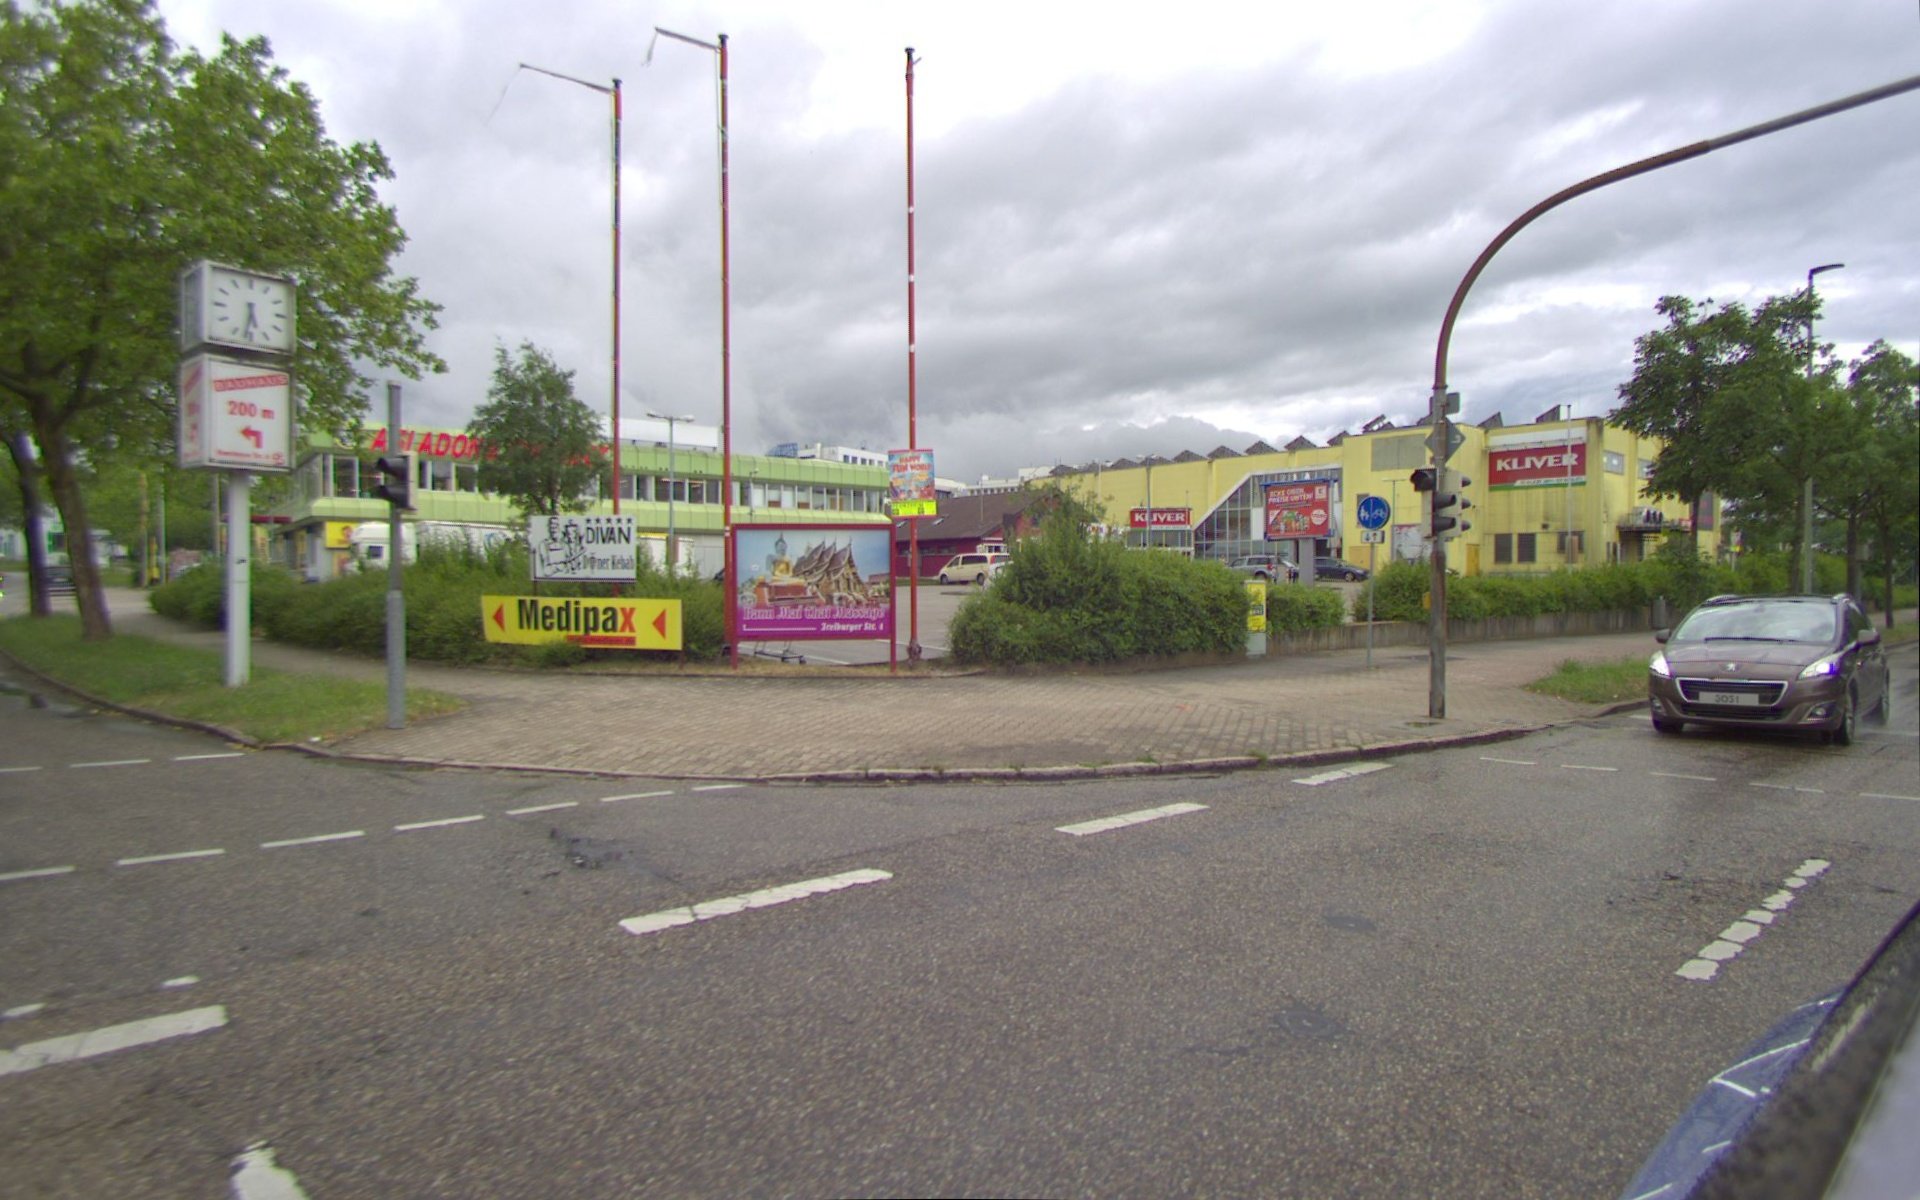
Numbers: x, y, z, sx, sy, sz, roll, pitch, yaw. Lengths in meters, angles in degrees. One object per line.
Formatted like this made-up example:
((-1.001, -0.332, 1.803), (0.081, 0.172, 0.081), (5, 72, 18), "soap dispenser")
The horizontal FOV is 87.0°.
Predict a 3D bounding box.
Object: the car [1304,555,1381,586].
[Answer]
((23.468, -1.800, 62.188), (1.965, 1.801, 3.993), (0, 1, -41), "car")

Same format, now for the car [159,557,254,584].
((-43.188, -1.688, 58.074), (1.981, 1.460, 3.962), (1, 1, 27), "car")

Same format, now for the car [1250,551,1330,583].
((19.212, -1.919, 59.070), (1.965, 1.801, 3.993), (0, 1, -41), "car")

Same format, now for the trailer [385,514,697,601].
((-20.944, -1.922, 51.936), (14.548, 3.764, 3.157), (1, -2, -40), "trailer")

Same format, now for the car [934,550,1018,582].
((0.911, -2.032, 61.221), (2.340, 1.801, 4.976), (0, 1, -41), "car")

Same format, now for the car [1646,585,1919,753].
((9.839, 0.656, 11.980), (4.392, 1.645, 1.729), (-1, 0, -40), "car")

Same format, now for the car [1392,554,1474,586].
((28.278, -1.776, 60.551), (1.965, 1.801, 3.993), (0, 1, -41), "car")

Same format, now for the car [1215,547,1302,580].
((16.802, -2.032, 57.117), (1.965, 1.760, 4.377), (0, 1, -41), "car")

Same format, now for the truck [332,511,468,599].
((-26.235, -2.001, 47.468), (5.044, 3.764, 3.157), (1, -2, -40), "truck")

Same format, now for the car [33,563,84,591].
((-47.966, -1.221, 53.862), (1.965, 1.460, 3.993), (0, 1, -41), "car")
